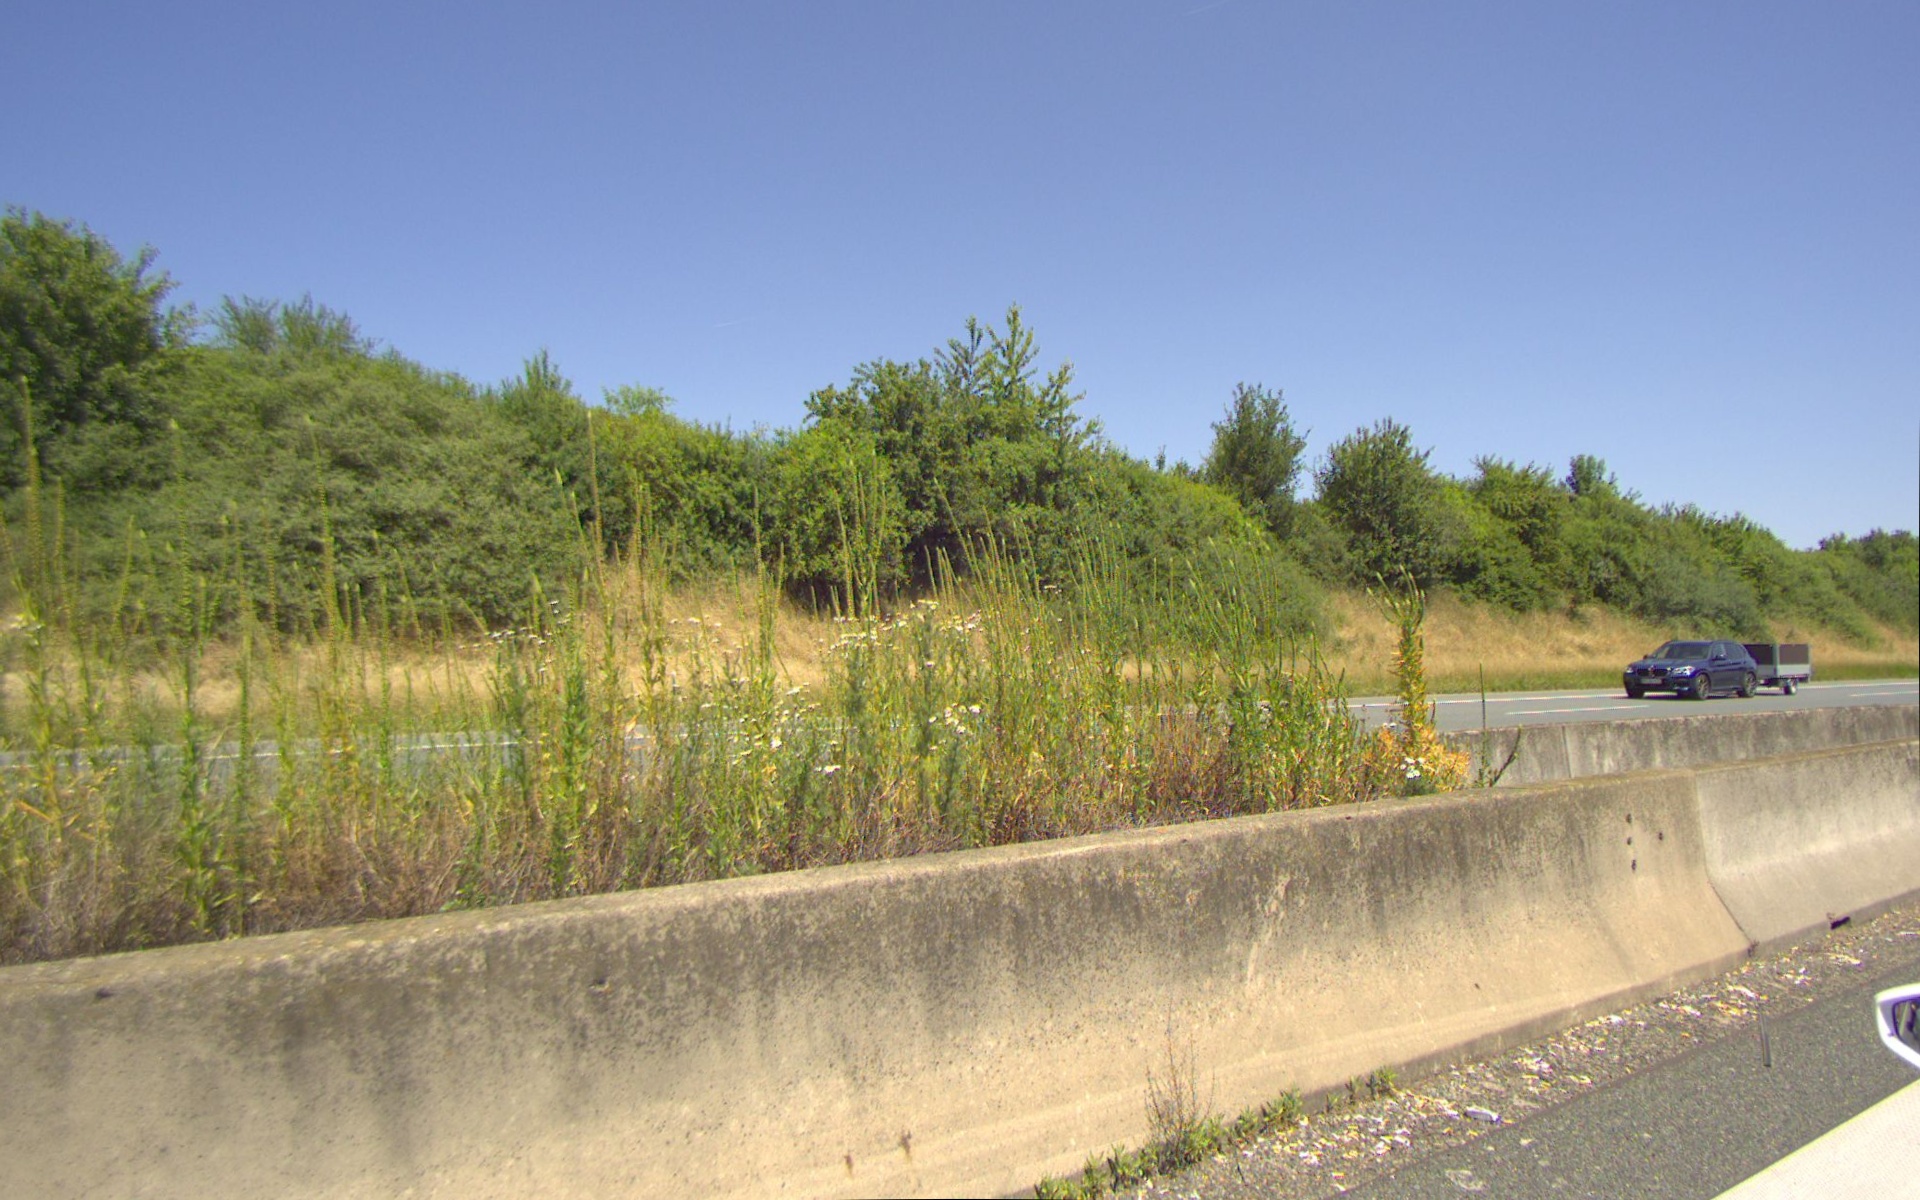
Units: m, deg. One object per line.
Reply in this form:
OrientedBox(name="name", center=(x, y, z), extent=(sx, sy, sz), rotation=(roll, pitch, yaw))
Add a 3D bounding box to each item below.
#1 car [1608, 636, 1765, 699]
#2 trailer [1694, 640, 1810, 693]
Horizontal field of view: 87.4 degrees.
OrientedBox(name="car", center=(21.057, 1.921, 29.085), extent=(4.575, 1.671, 1.985), rotation=(1, -4, -30))
OrientedBox(name="trailer", center=(24.649, 2.039, 31.235), extent=(3.735, 1.572, 1.562), rotation=(1, -3, -30))
